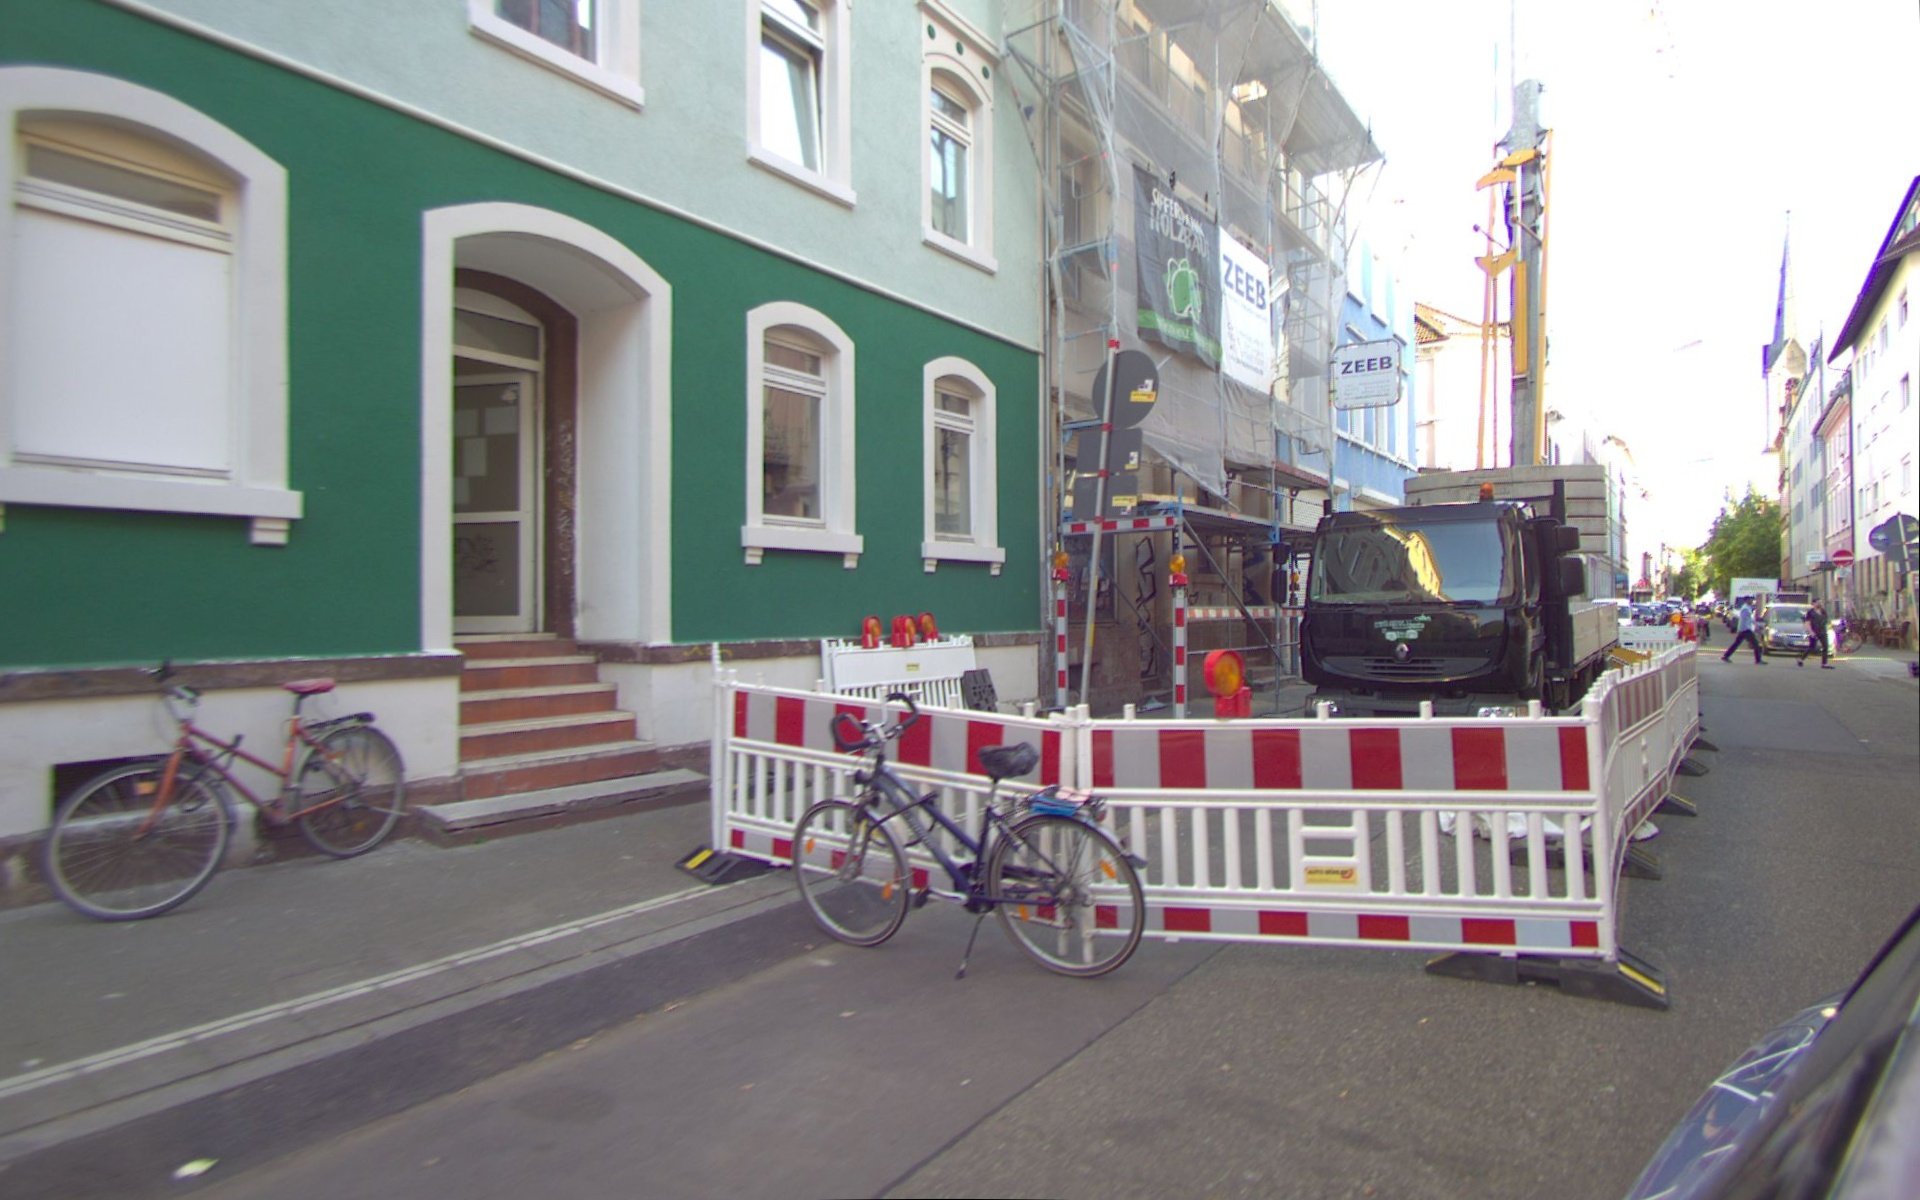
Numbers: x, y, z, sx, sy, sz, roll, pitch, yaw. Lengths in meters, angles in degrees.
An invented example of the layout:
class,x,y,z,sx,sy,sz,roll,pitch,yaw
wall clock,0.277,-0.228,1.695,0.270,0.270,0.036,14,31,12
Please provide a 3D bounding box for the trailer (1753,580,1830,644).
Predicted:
class,x,y,z,sx,sy,sz,roll,pitch,yaw
trailer,28.776,0.365,35.135,1.656,2.087,4.310,1,1,34

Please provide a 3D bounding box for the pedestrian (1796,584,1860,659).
class,x,y,z,sx,sy,sz,roll,pitch,yaw
pedestrian,21.702,0.516,25.315,0.817,1.815,0.985,2,1,15

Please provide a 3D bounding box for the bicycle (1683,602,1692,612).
class,x,y,z,sx,sy,sz,roll,pitch,yaw
bicycle,88.102,0.831,122.566,0.724,1.195,2.458,-2,-1,34

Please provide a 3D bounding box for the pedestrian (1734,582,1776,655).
class,x,y,z,sx,sy,sz,roll,pitch,yaw
pedestrian,20.670,0.476,26.322,0.767,1.873,0.770,-2,-1,37

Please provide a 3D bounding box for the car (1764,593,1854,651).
class,x,y,z,sx,sy,sz,roll,pitch,yaw
car,25.917,0.623,31.009,1.716,1.626,4.113,1,0,35

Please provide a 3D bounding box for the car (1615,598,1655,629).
class,x,y,z,sx,sy,sz,roll,pitch,yaw
car,36.268,0.700,54.315,1.612,1.523,3.723,1,1,36

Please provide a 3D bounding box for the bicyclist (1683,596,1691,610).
class,x,y,z,sx,sy,sz,roll,pitch,yaw
bicyclist,88.113,0.364,122.596,0.711,1.680,0.866,-2,-1,35

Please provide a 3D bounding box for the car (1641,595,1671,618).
class,x,y,z,sx,sy,sz,roll,pitch,yaw
car,48.811,0.439,70.979,1.604,1.471,3.830,1,1,36

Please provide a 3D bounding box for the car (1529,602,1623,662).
class,x,y,z,sx,sy,sz,roll,pitch,yaw
car,16.482,0.801,26.994,1.766,1.452,3.981,-2,-1,36

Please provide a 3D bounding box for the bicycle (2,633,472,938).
class,x,y,z,sx,sy,sz,roll,pitch,yaw
bicycle,-3.529,0.799,5.102,0.653,1.142,1.810,4,3,37

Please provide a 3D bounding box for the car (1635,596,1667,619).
class,x,y,z,sx,sy,sz,roll,pitch,yaw
car,44.950,0.488,65.798,1.604,1.413,3.830,1,1,36

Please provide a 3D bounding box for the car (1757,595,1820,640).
class,x,y,z,sx,sy,sz,roll,pitch,yaw
car,31.898,0.635,39.043,1.672,1.574,3.768,1,1,36

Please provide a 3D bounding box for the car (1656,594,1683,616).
class,x,y,z,sx,sy,sz,roll,pitch,yaw
car,71.398,0.474,101.905,1.985,2.039,4.510,-2,-1,33

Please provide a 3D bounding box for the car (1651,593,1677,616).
class,x,y,z,sx,sy,sz,roll,pitch,yaw
car,59.012,0.314,84.796,1.705,1.835,4.165,1,1,36

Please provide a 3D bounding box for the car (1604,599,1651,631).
class,x,y,z,sx,sy,sz,roll,pitch,yaw
car,32.904,0.714,49.848,1.727,1.413,3.830,1,1,36

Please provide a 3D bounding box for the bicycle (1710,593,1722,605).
class,x,y,z,sx,sy,sz,roll,pitch,yaw
bicycle,111.492,-0.112,149.275,1.012,1.672,3.507,-2,-1,32

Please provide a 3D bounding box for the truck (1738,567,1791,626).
class,x,y,z,sx,sy,sz,roll,pitch,yaw
truck,46.410,-0.220,58.482,2.286,3.223,6.948,0,0,38

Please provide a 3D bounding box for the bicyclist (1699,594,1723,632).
class,x,y,z,sx,sy,sz,roll,pitch,yaw
bicyclist,28.850,0.485,38.873,0.707,1.454,0.778,-1,-1,39

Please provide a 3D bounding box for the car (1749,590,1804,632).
class,x,y,z,sx,sy,sz,roll,pitch,yaw
car,37.951,0.465,47.139,1.797,1.868,4.188,0,1,36

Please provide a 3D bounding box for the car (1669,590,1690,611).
class,x,y,z,sx,sy,sz,roll,pitch,yaw
car,96.993,0.053,136.521,1.985,2.829,4.510,-2,-1,33

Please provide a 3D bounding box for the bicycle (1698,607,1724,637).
class,x,y,z,sx,sy,sz,roll,pitch,yaw
bicycle,28.877,0.843,38.904,0.707,1.125,1.907,-1,-1,39

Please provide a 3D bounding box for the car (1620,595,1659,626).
class,x,y,z,sx,sy,sz,roll,pitch,yaw
car,40.226,0.594,59.896,1.705,1.752,4.350,1,1,36

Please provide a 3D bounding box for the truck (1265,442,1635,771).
class,x,y,z,sx,sy,sz,roll,pitch,yaw
truck,6.422,0.056,12.484,2.654,2.850,7.294,-2,-1,37

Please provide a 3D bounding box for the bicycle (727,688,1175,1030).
class,x,y,z,sx,sy,sz,roll,pitch,yaw
bicycle,-0.085,0.979,4.329,1.840,1.124,0.637,-2,-1,31

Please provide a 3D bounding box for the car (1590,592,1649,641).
class,x,y,z,sx,sy,sz,roll,pitch,yaw
car,26.735,0.611,40.977,1.744,1.839,4.312,1,1,36

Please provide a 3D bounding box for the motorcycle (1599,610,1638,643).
class,x,y,z,sx,sy,sz,roll,pitch,yaw
motorcycle,24.720,0.988,37.990,1.962,1.099,0.720,-1,4,-42

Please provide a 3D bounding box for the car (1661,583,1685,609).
class,x,y,z,sx,sy,sz,roll,pitch,yaw
car,81.636,-0.438,115.922,1.985,2.829,4.510,-2,-1,33

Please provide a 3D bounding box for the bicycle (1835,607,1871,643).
class,x,y,z,sx,sy,sz,roll,pitch,yaw
bicycle,29.163,0.809,33.063,0.573,1.153,1.445,-2,-1,31

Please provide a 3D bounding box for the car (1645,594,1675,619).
class,x,y,z,sx,sy,sz,roll,pitch,yaw
car,52.028,0.452,75.149,1.705,1.752,4.165,1,1,36
